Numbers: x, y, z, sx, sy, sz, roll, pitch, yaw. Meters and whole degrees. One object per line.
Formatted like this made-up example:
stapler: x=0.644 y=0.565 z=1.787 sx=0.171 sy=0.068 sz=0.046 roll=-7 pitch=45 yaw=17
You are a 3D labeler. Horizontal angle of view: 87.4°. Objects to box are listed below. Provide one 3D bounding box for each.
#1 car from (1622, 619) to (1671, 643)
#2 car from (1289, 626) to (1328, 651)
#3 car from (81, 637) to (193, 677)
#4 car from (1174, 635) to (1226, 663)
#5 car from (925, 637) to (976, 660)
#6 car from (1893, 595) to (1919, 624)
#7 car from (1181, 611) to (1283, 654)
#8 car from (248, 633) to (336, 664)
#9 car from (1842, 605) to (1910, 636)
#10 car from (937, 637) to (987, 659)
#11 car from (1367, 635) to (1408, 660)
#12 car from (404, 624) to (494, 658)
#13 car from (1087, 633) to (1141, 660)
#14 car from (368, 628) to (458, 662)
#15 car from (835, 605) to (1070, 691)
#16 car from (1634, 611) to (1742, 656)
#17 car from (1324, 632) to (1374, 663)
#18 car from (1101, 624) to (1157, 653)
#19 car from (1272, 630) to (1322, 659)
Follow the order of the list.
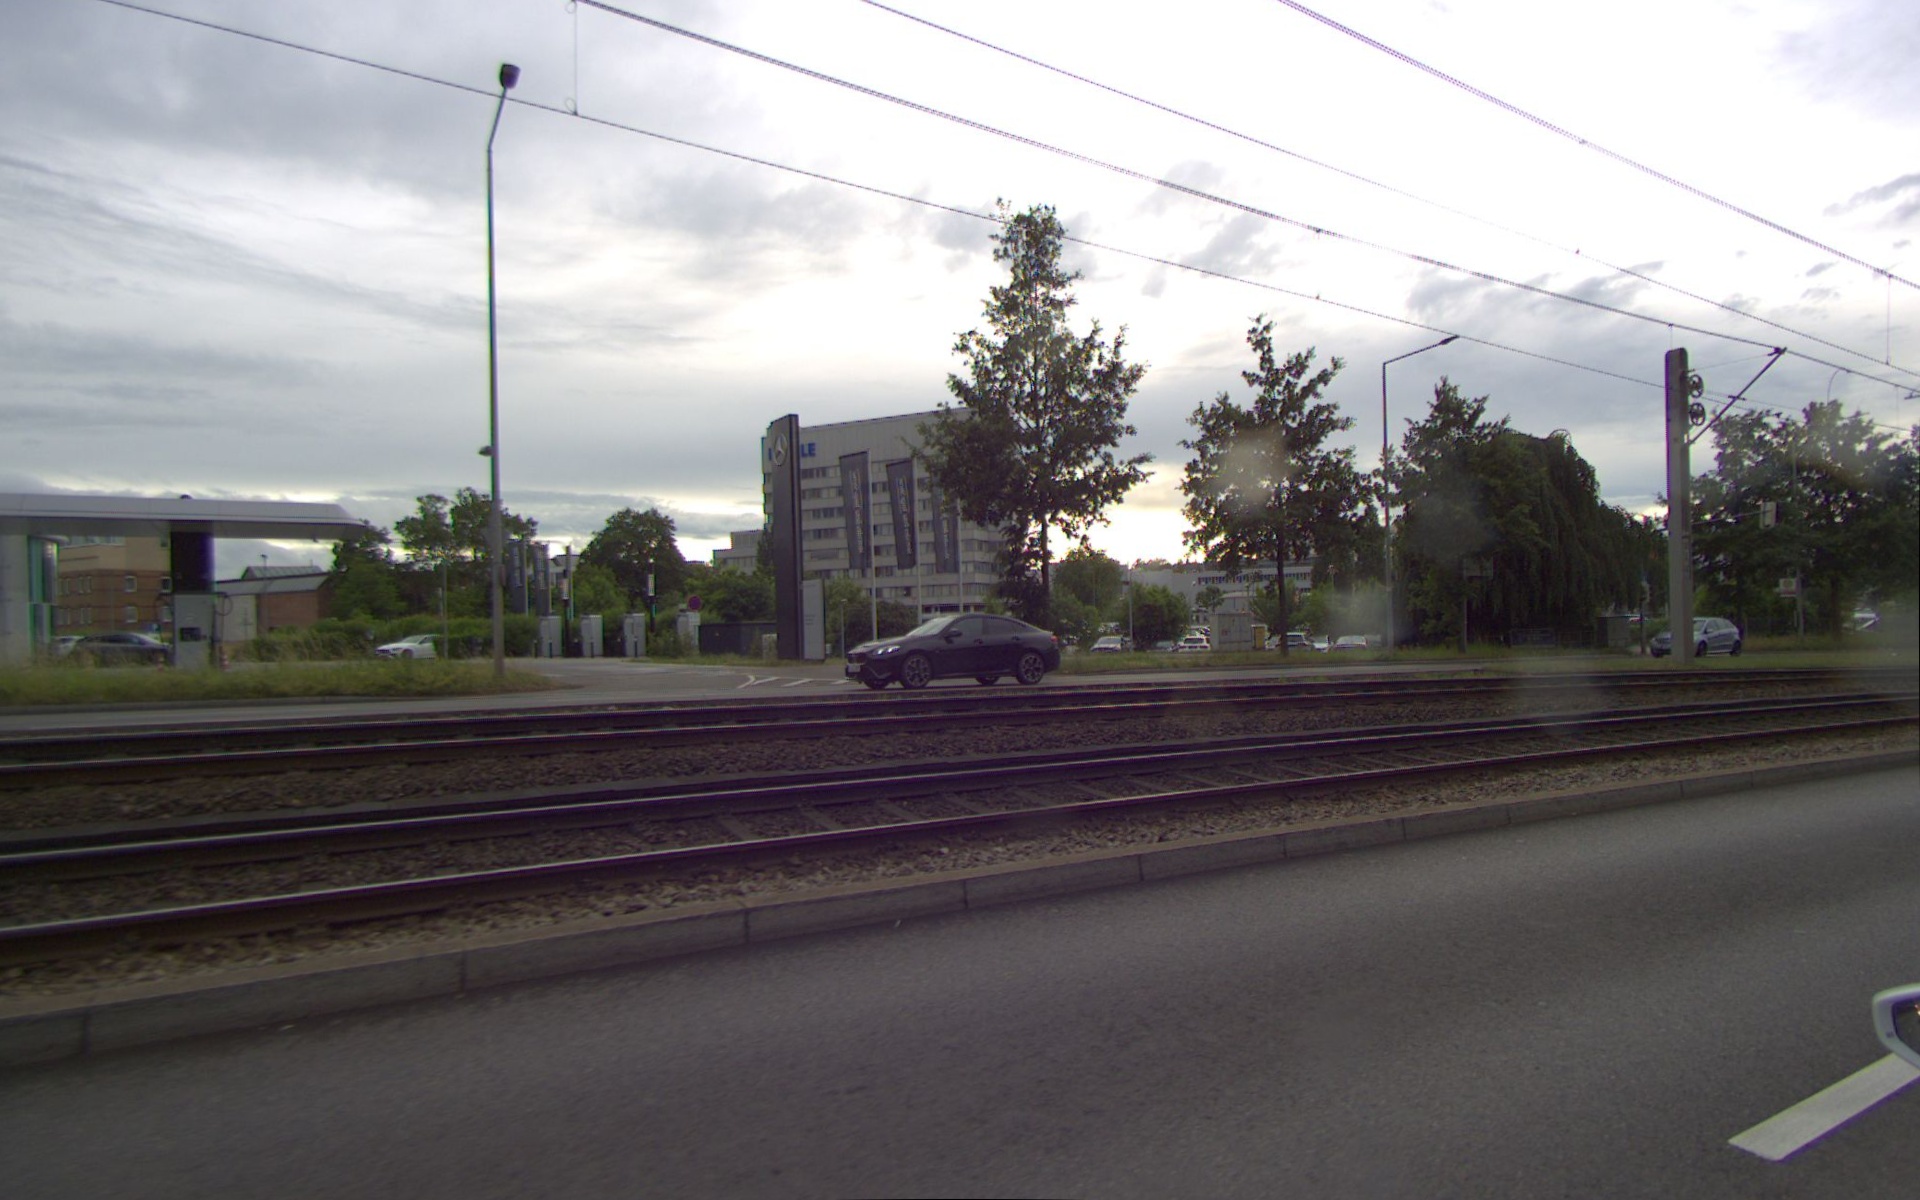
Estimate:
car: x=43.768 y=2.005 z=64.110 sx=1.963 sy=1.433 sz=3.996 roll=2 pitch=-1 yaw=26
car: x=23.346 y=2.563 z=67.287 sx=1.963 sy=1.530 sz=3.996 roll=2 pitch=-1 yaw=26
car: x=-39.188 y=2.724 z=47.949 sx=3.696 sy=1.732 sz=1.772 roll=3 pitch=-1 yaw=-24
car: x=14.311 y=2.912 z=59.708 sx=1.728 sy=1.514 sz=3.989 roll=2 pitch=-1 yaw=34
car: x=-0.802 y=3.917 z=82.084 sx=3.643 sy=1.696 sz=1.998 roll=2 pitch=-1 yaw=26
car: x=70.058 y=0.704 z=72.785 sx=3.939 sy=2.040 sz=1.991 roll=1 pitch=0 yaw=-20
car: x=11.598 y=1.373 z=42.841 sx=3.953 sy=1.672 sz=1.984 roll=3 pitch=-1 yaw=-30
car: x=-40.696 y=2.927 z=61.311 sx=1.963 sy=1.750 sz=3.995 roll=2 pitch=-1 yaw=27
car: x=65.002 y=1.448 z=71.304 sx=3.940 sy=2.040 sz=1.991 roll=2 pitch=-1 yaw=-20
car: x=0.145 y=3.991 z=84.015 sx=3.643 sy=1.696 sz=1.998 roll=2 pitch=-1 yaw=26
car: x=27.784 y=3.068 z=65.246 sx=1.964 sy=1.530 sz=3.993 roll=2 pitch=-1 yaw=30
car: x=-28.266 y=2.275 z=55.663 sx=1.963 sy=1.750 sz=3.995 roll=2 pitch=-1 yaw=27
car: x=9.574 y=2.864 z=62.201 sx=1.728 sy=1.514 sz=3.989 roll=2 pitch=-1 yaw=34
car: x=-30.705 y=2.510 z=56.484 sx=1.963 sy=1.750 sz=3.995 roll=2 pitch=-1 yaw=27
car: x=-0.108 y=0.960 z=20.015 sx=4.355 sy=1.540 sz=1.873 roll=1 pitch=-4 yaw=-33
car: x=29.504 y=1.339 z=40.705 sx=3.949 sy=1.702 sz=1.986 roll=1 pitch=0 yaw=-28
car: x=21.328 y=2.579 z=54.988 sx=1.964 sy=1.530 sz=3.993 roll=2 pitch=-1 yaw=30
car: x=9.897 y=2.245 z=58.561 sx=1.964 sy=1.530 sz=3.993 roll=2 pitch=-1 yaw=30
car: x=19.238 y=2.533 z=57.252 sx=1.728 sy=1.514 sz=3.989 roll=2 pitch=-1 yaw=34
